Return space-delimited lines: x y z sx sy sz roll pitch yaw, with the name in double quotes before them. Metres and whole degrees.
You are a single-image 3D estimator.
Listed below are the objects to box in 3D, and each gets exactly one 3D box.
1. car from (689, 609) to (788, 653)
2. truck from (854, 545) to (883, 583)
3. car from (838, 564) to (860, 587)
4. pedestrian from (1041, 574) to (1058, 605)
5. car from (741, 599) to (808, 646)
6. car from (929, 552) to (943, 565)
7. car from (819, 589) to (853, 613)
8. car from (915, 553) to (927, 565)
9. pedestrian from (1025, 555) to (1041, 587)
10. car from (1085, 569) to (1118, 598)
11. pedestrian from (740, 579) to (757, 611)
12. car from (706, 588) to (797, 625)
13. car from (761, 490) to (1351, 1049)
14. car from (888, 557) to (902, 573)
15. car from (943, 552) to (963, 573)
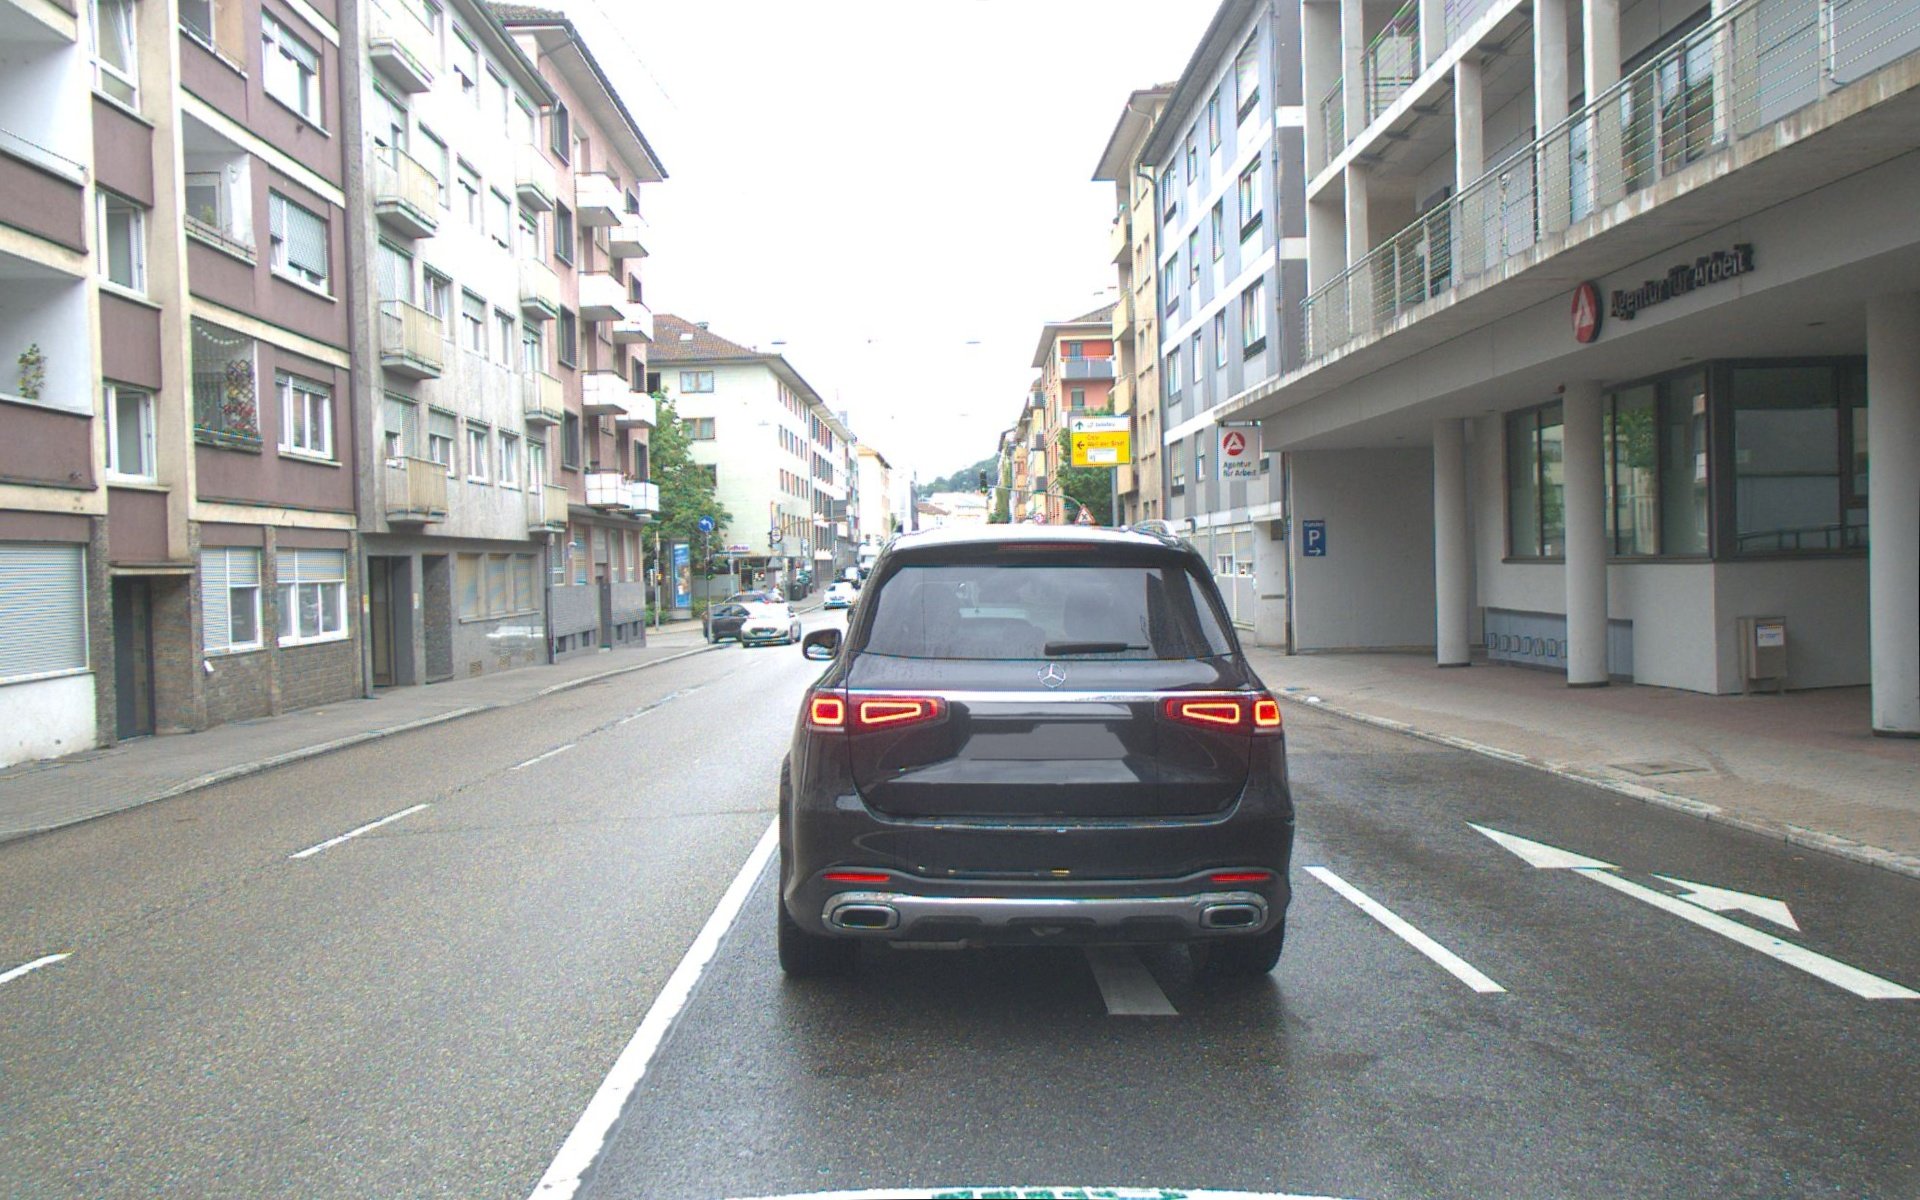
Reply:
"car" -9.395 1.326 69.847 1.985 1.735 4.297 -2 0 -43
"truck" -8.651 -3.362 156.811 2.430 3.099 9.913 -3 0 -3
"car" -8.831 -1.932 131.381 1.586 1.566 4.215 -3 0 -3
"pedestrian" 5.501 -0.659 102.024 0.904 1.836 0.706 -2 0 -3
"car" -6.733 0.815 60.423 1.735 1.566 4.360 -3 0 2
"car" -3.196 -5.586 221.861 1.586 1.566 4.215 -3 0 -3
"car" -7.443 0.060 99.544 1.848 1.286 4.215 -3 0 -3
"car" -5.890 -6.229 250.030 1.586 1.566 4.215 -3 0 -3
"pedestrian" 4.826 -1.887 109.065 0.904 2.049 0.706 -2 0 -3
"car" 8.061 -0.943 94.584 1.636 1.616 3.331 -2 0 1
"pedestrian" -13.008 -0.302 101.736 0.904 1.935 0.706 -2 0 -3
"car" -10.386 0.326 82.518 4.116 1.566 1.822 -3 -1 4
"car" 0.295 0.588 7.722 1.944 1.837 4.388 1 -1 -1
"car" -7.624 -4.073 193.459 1.586 1.566 4.215 -3 0 -3
"car" -0.709 -3.800 167.140 1.689 1.790 4.215 -3 -1 -3
